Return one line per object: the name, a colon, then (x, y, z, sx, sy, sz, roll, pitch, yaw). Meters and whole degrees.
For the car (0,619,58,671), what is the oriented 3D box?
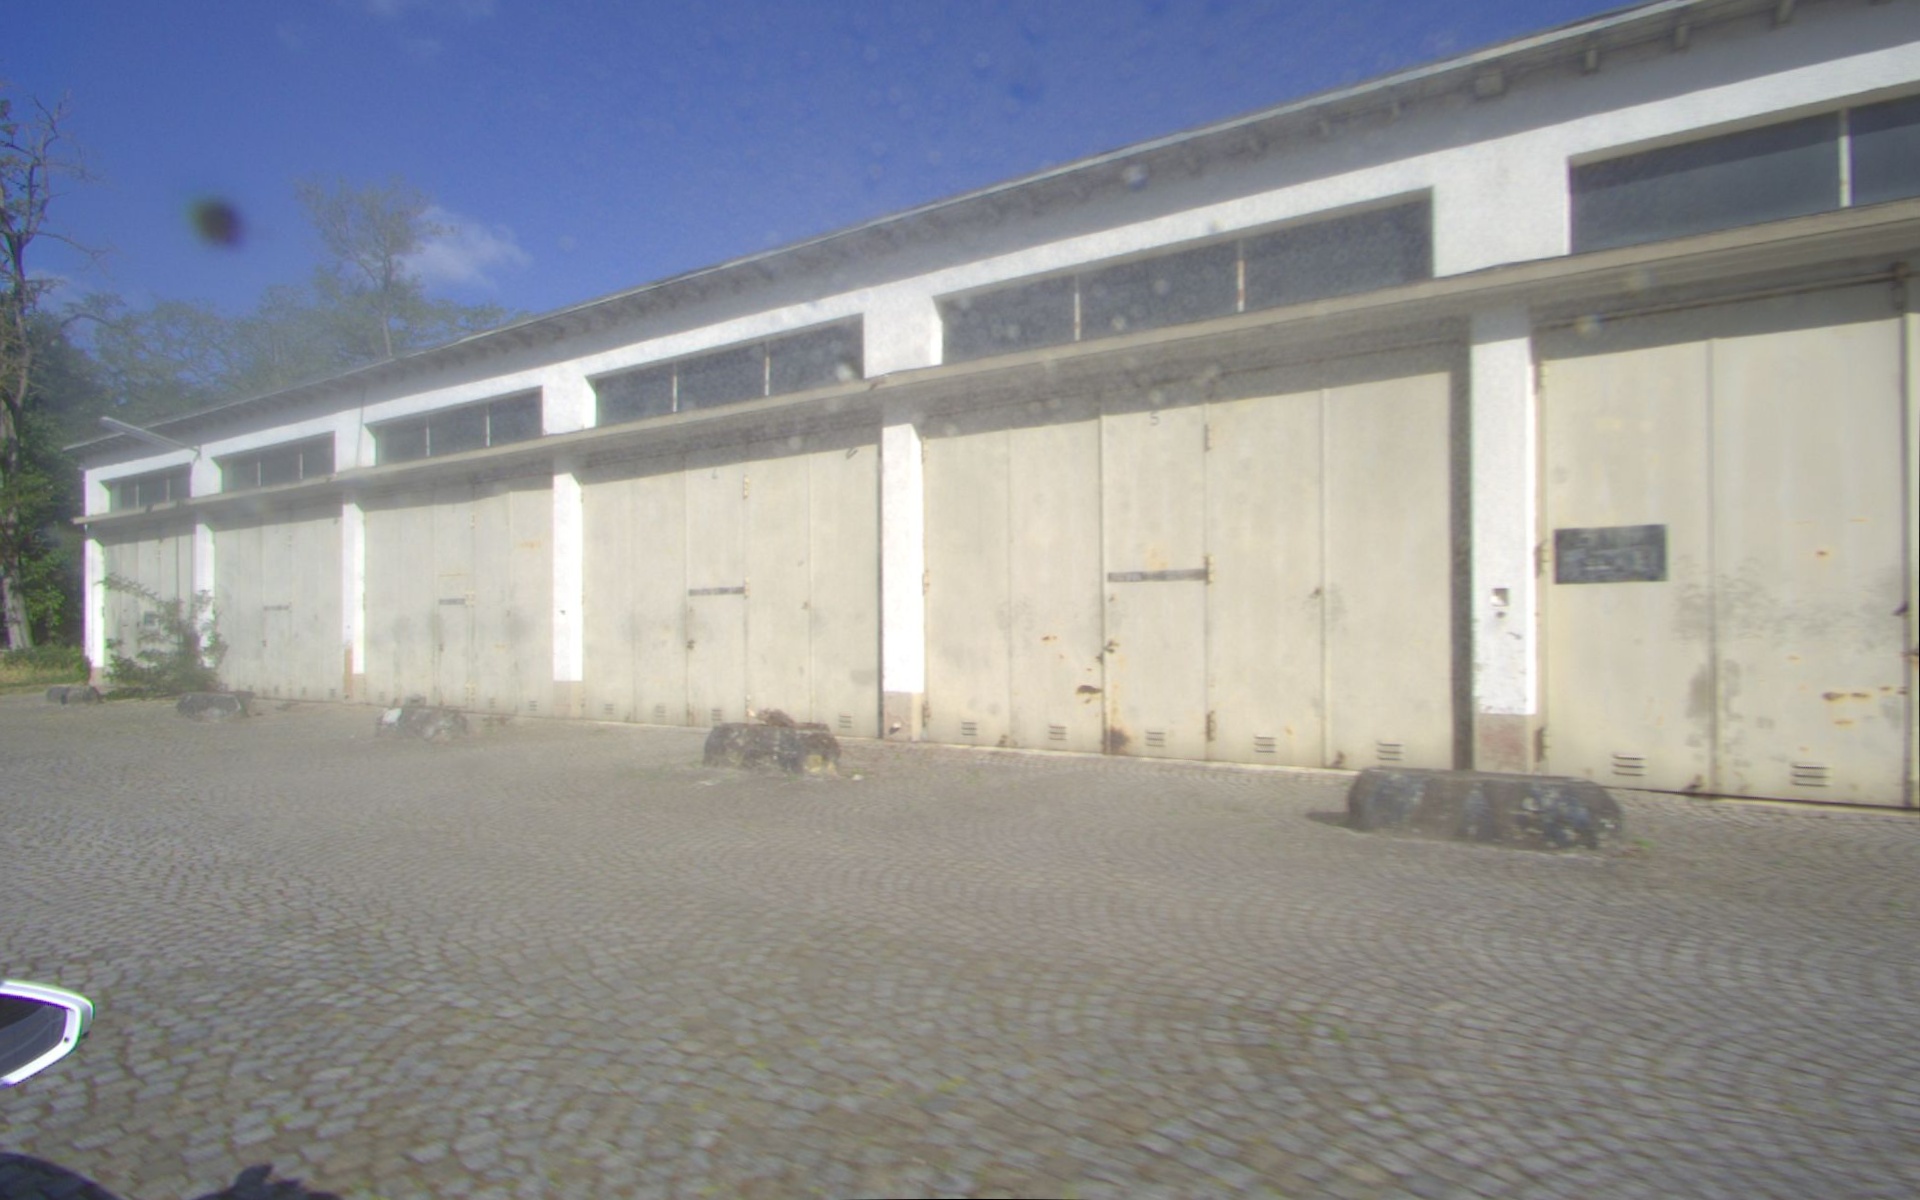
car: (-34.468, 1.574, 36.050, 4.211, 1.652, 1.871, 2, -1, 33)
